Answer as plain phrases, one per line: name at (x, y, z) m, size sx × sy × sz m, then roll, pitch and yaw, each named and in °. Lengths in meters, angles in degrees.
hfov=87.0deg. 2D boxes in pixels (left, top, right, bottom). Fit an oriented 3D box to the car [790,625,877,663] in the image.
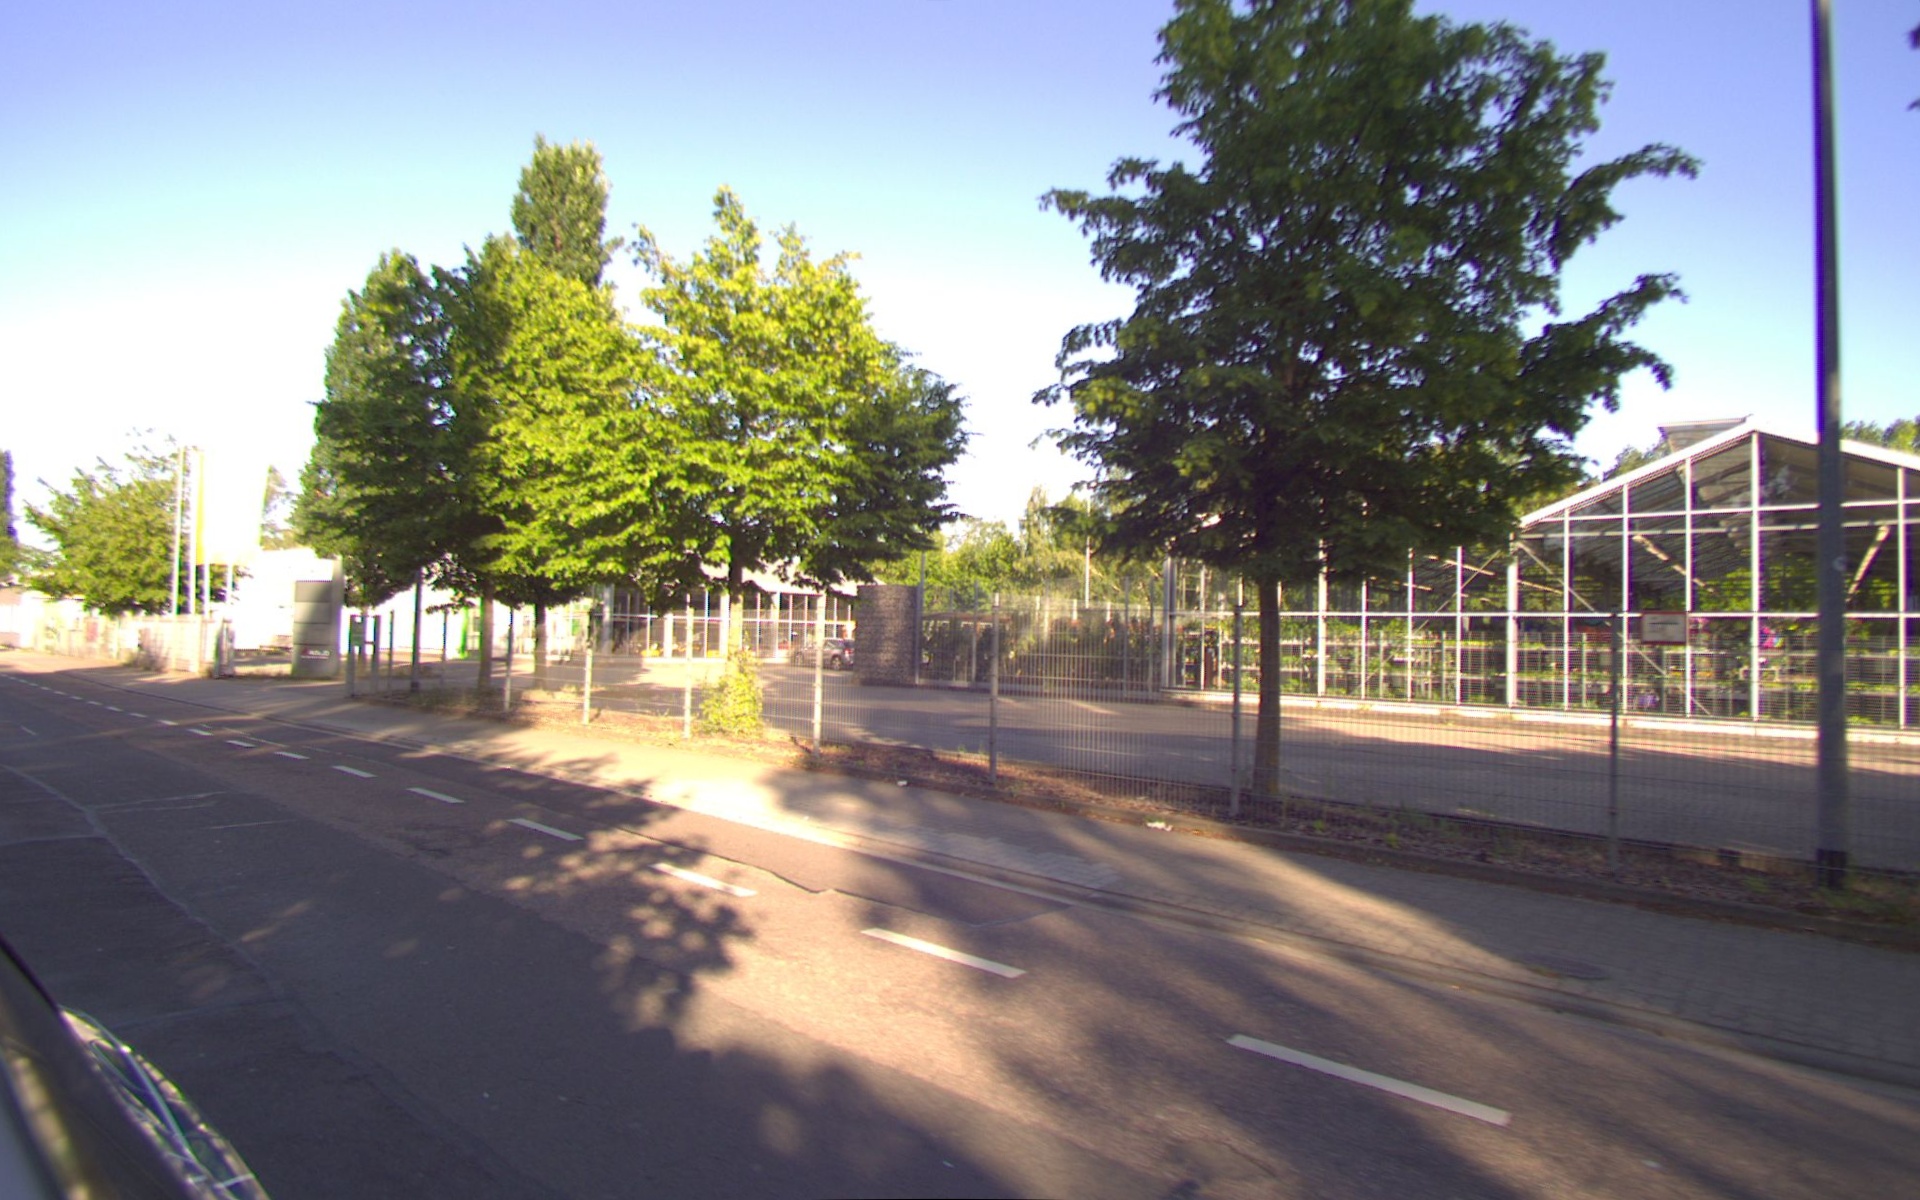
car at (-6.114, 2.097, 48.617) m, size 3.997 × 1.521 × 1.861 m, roll 3°, pitch 0°, yaw 40°
